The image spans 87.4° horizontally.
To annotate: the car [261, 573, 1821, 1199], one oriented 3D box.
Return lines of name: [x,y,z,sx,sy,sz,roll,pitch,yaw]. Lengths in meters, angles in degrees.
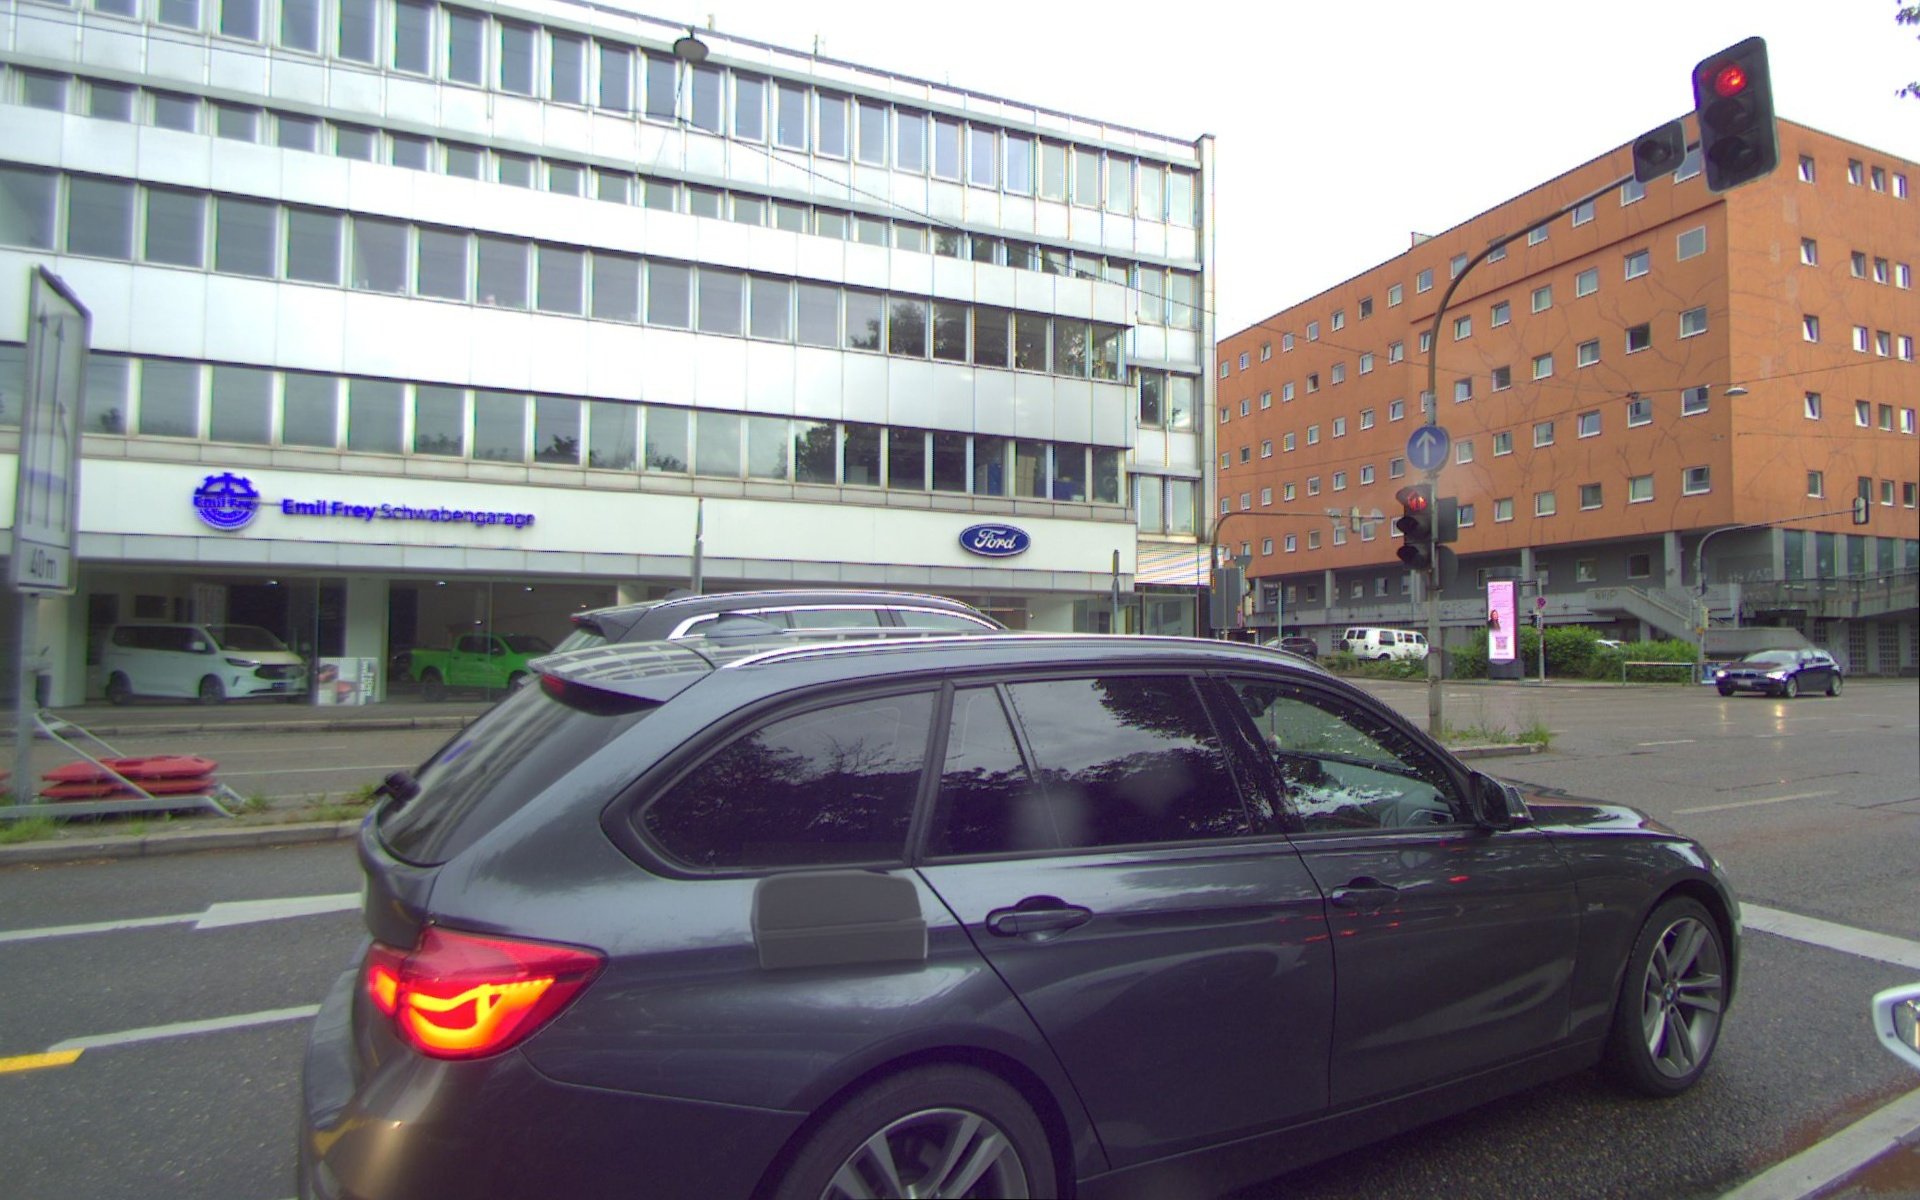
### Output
car: [0.612,0.794,3.148,4.424,1.477,1.769,2,-3,-30]

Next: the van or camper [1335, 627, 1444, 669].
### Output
van or camper: [22.421,2.521,52.411,5.376,2.004,2.121,2,0,-23]

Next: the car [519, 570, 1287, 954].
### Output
car: [-0.265,0.764,6.229,4.389,1.678,1.802,2,0,-28]

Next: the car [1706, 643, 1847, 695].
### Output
car: [23.824,1.992,29.284,4.162,1.437,1.680,2,-3,-28]

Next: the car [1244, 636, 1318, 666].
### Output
car: [18.846,2.991,58.966,4.027,1.633,1.706,2,0,-23]

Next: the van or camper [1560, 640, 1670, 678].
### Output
van or camper: [30.831,2.741,47.381,1.887,1.648,3.978,1,-2,-23]
